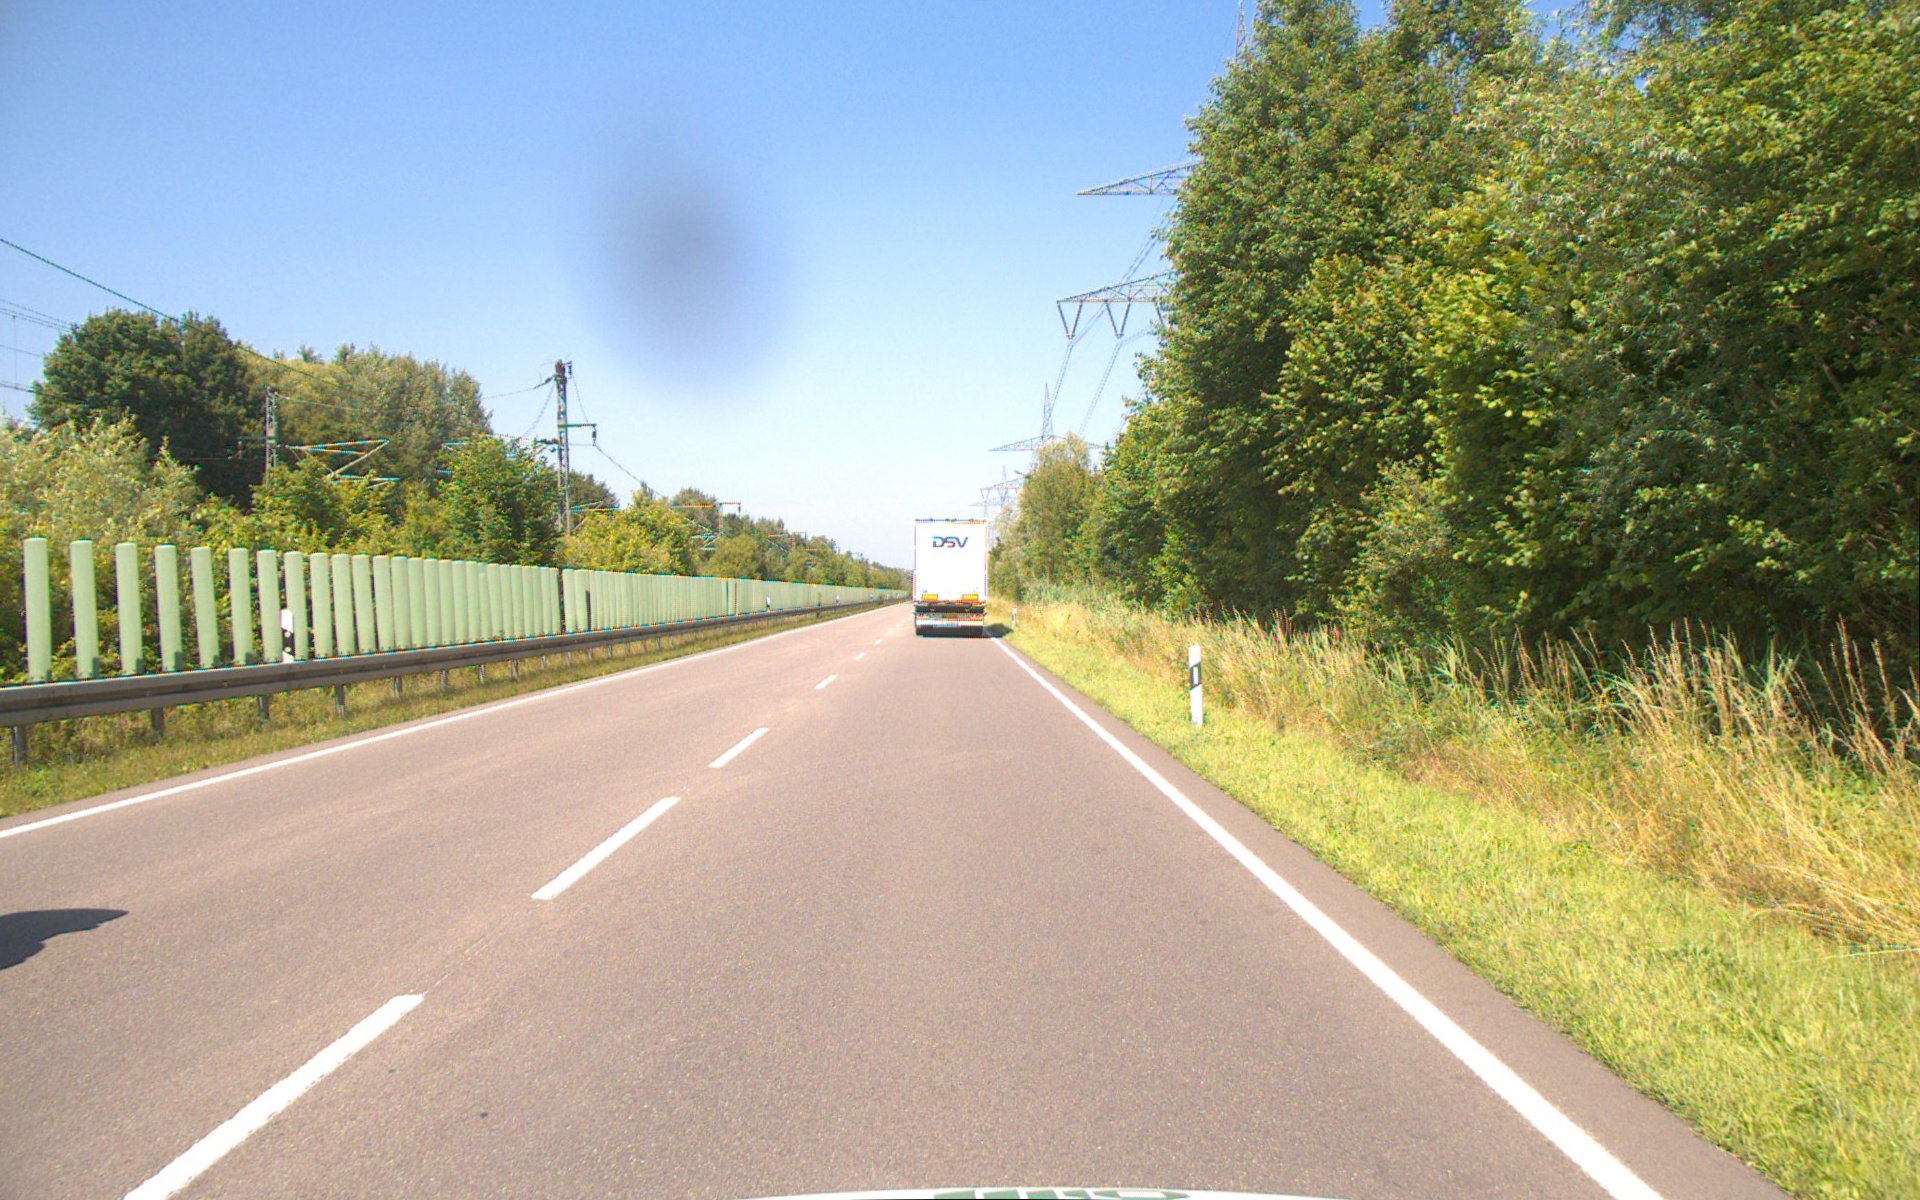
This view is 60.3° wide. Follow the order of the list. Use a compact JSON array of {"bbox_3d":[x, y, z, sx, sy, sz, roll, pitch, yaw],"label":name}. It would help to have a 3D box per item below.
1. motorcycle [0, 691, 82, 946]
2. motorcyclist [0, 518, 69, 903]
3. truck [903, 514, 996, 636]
[{"bbox_3d":[-4.389,0.925,6.158,0.738,1.031,2.721,1,0,1],"label":"motorcycle"},{"bbox_3d":[-4.372,0.457,6.964,0.734,1.610,0.864,1,0,1],"label":"motorcyclist"},{"bbox_3d":[-0.474,-0.867,61.752,3.127,4.113,12.004,0,0,-1],"label":"truck"}]
